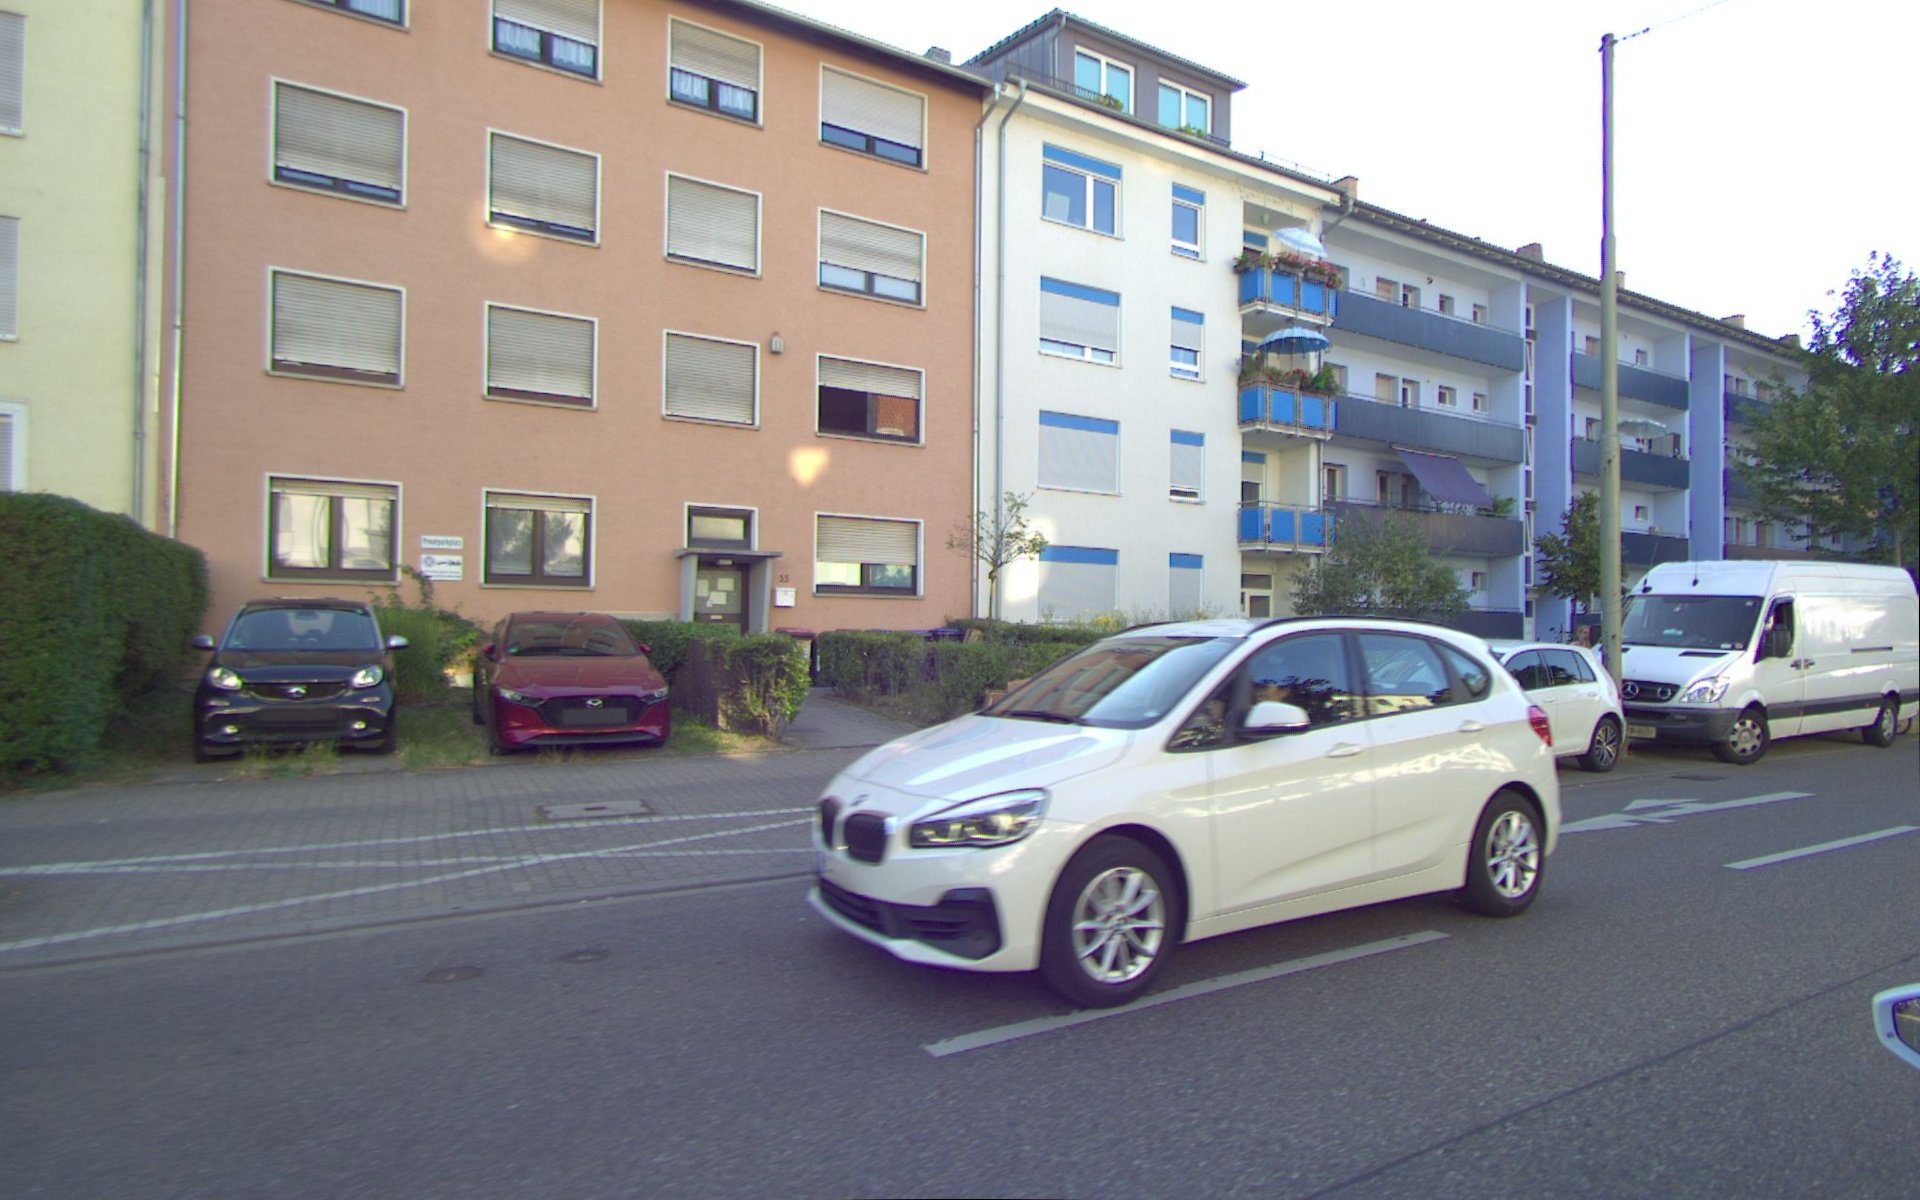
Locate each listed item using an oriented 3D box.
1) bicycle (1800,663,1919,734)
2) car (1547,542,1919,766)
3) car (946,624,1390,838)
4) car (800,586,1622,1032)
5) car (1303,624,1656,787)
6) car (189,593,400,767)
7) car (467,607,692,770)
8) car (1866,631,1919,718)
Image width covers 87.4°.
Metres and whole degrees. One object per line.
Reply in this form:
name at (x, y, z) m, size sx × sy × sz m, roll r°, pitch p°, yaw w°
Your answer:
bicycle at (14.841, 1.590, 16.564) m, size 0.433 × 1.028 × 1.469 m, roll 1°, pitch 0°, yaw -22°
car at (11.501, 0.710, 14.532) m, size 7.021 × 2.651 × 1.984 m, roll 1°, pitch 0°, yaw -30°
car at (1.916, 1.011, 8.971) m, size 3.768 × 1.492 × 1.604 m, roll 1°, pitch 1°, yaw -30°
car at (1.453, 0.797, 5.429) m, size 4.217 × 1.563 × 1.871 m, roll 1°, pitch -3°, yaw -30°
car at (6.023, 1.092, 11.560) m, size 4.010 × 1.512 × 1.698 m, roll 1°, pitch 1°, yaw -30°
car at (-7.107, 0.721, 11.063) m, size 1.610 × 1.549 × 3.969 m, roll 1°, pitch 0°, yaw -29°
car at (-4.558, 0.862, 11.659) m, size 1.893 × 1.432 × 3.969 m, roll 1°, pitch 1°, yaw -29°
car at (19.453, 1.403, 19.298) m, size 4.418 × 1.563 × 1.665 m, roll 1°, pitch -2°, yaw -29°
